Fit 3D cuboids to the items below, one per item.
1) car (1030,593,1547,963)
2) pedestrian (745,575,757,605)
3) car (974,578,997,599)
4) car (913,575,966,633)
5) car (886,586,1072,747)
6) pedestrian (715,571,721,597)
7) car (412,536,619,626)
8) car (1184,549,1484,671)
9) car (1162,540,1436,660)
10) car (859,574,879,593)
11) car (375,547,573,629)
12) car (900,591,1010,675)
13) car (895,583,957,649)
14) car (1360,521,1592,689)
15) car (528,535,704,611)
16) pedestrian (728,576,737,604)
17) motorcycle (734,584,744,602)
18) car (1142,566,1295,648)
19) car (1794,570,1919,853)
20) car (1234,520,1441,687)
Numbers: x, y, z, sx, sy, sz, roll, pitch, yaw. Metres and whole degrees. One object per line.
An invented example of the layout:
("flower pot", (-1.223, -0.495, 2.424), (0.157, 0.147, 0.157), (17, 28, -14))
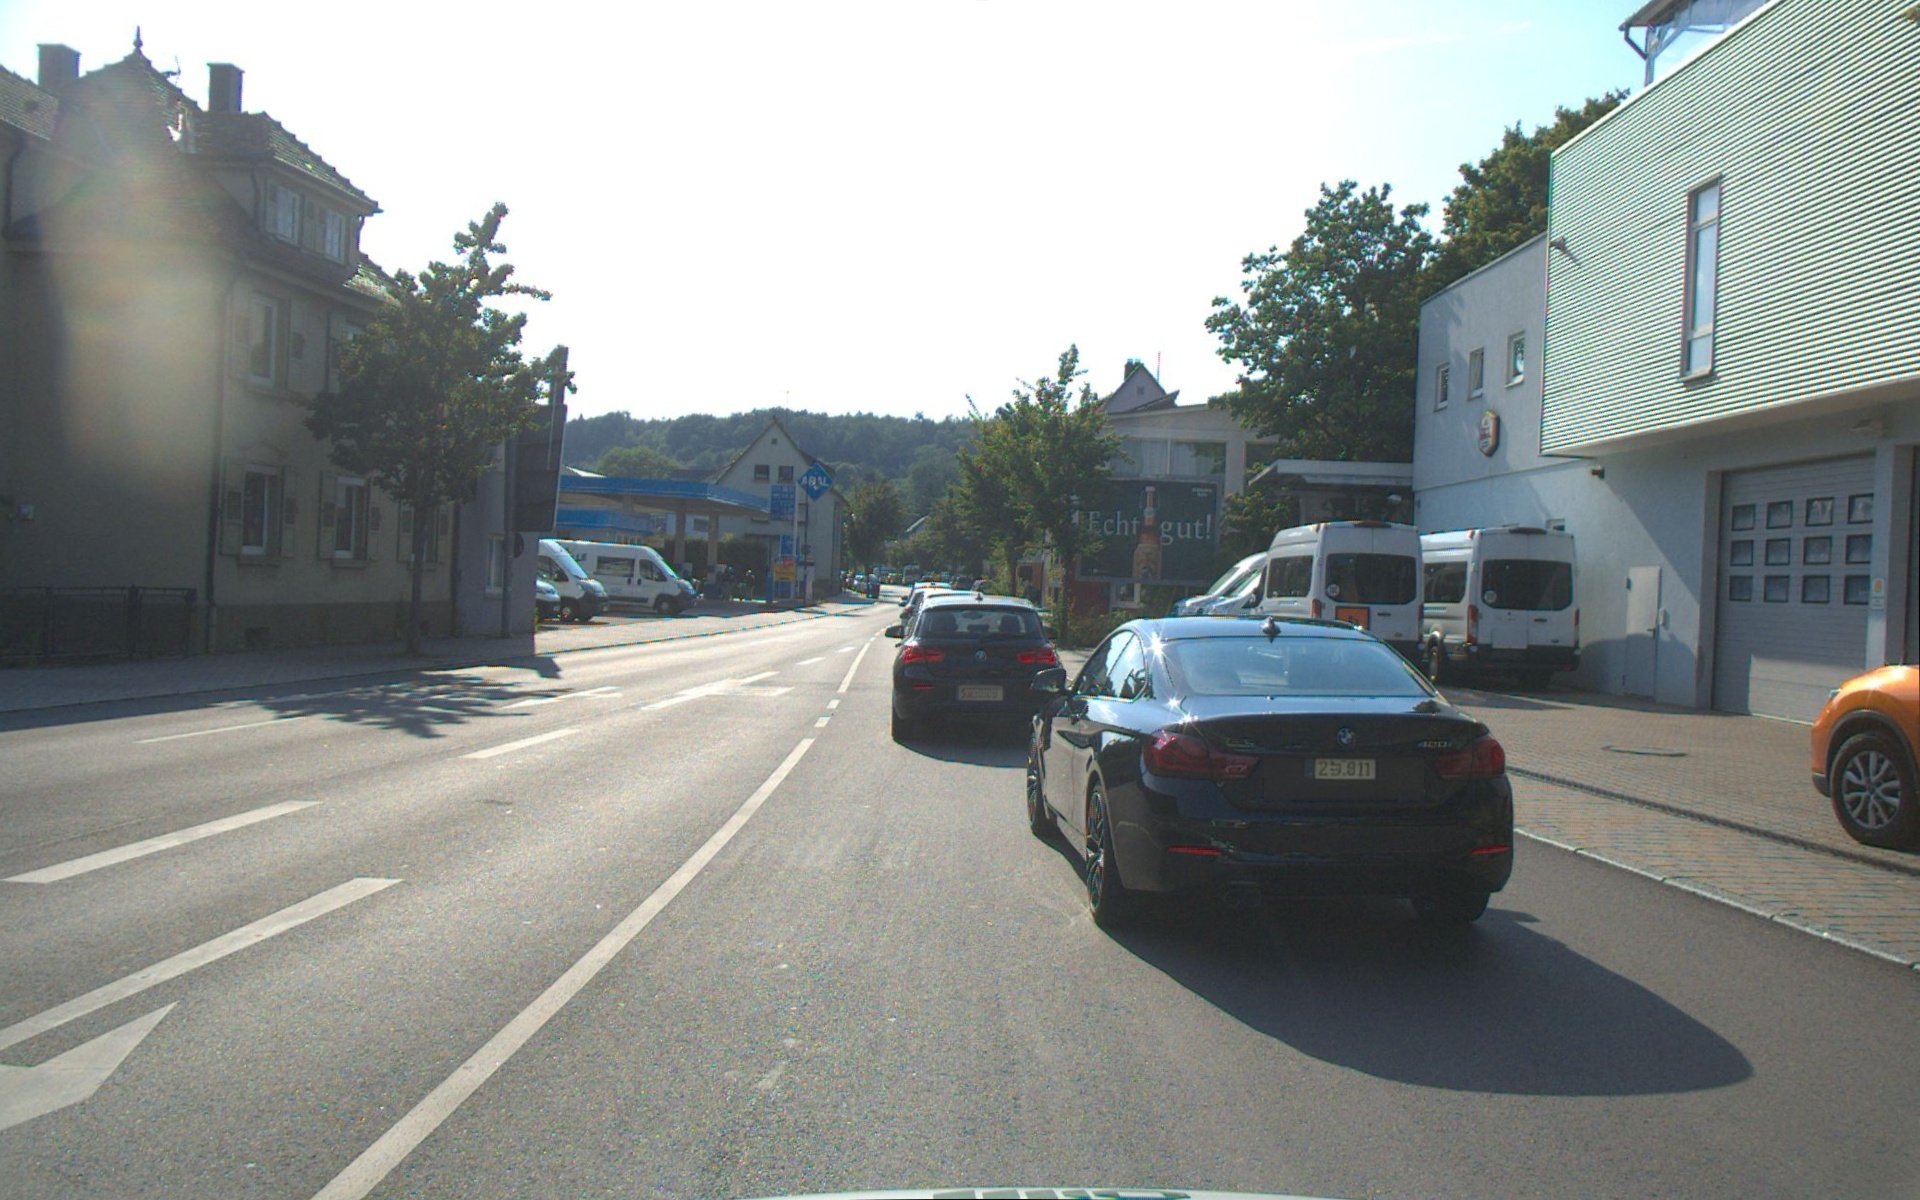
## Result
("car", (1.405, 0.707, 8.710), (1.666, 1.392, 4.260), (1, 1, -3))
("pedestrian", (-11.732, -0.571, 92.873), (0.598, 1.699, 0.442), (1, 1, -4))
("car", (1.947, -0.904, 127.702), (1.565, 1.511, 3.474), (2, 1, -2))
("car", (-0.647, 0.102, 54.510), (1.569, 1.798, 3.412), (2, 1, 2))
("car", (0.199, 0.618, 17.435), (1.735, 1.481, 3.516), (1, 0, 1))
("pedestrian", (-13.489, -0.892, 92.065), (0.256, 1.407, 0.288), (1, 1, 1))
("car", (-13.954, -0.614, 52.128), (5.796, 2.523, 2.195), (3, 1, 4))
("car", (7.987, 0.195, 35.648), (5.923, 2.404, 2.043), (2, 1, -3))
("car", (7.851, -0.016, 38.685), (5.923, 2.560, 2.043), (2, 1, -3))
("car", (-7.692, -1.428, 139.920), (1.565, 1.511, 3.474), (2, 1, -2))
("car", (-13.560, -0.337, 46.350), (4.873, 2.034, 1.936), (3, 0, 2))
("car", (-0.144, 0.587, 31.588), (1.720, 1.438, 3.417), (1, 1, -6))
("car", (-0.929, 0.387, 44.483), (1.559, 1.628, 3.892), (2, 1, -2))
("car", (9.468, 0.028, 31.040), (2.069, 2.769, 6.441), (2, 1, -2))
("car", (-12.806, -1.008, 61.908), (6.033, 2.487, 2.249), (3, 1, 0))
("pedestrian", (-12.798, -0.566, 92.962), (0.399, 1.574, 0.432), (1, 1, -4))
("motorcycle", (-12.364, -0.379, 92.523), (0.356, 0.960, 1.695), (1, 1, -2))
("car", (6.487, 0.161, 41.752), (3.528, 1.927, 1.585), (2, 1, -4))
("car", (6.749, 0.697, 8.862), (1.800, 1.678, 4.530), (2, 0, -8))
("car", (6.845, 0.009, 30.899), (2.106, 2.727, 6.601), (2, 1, -2))
